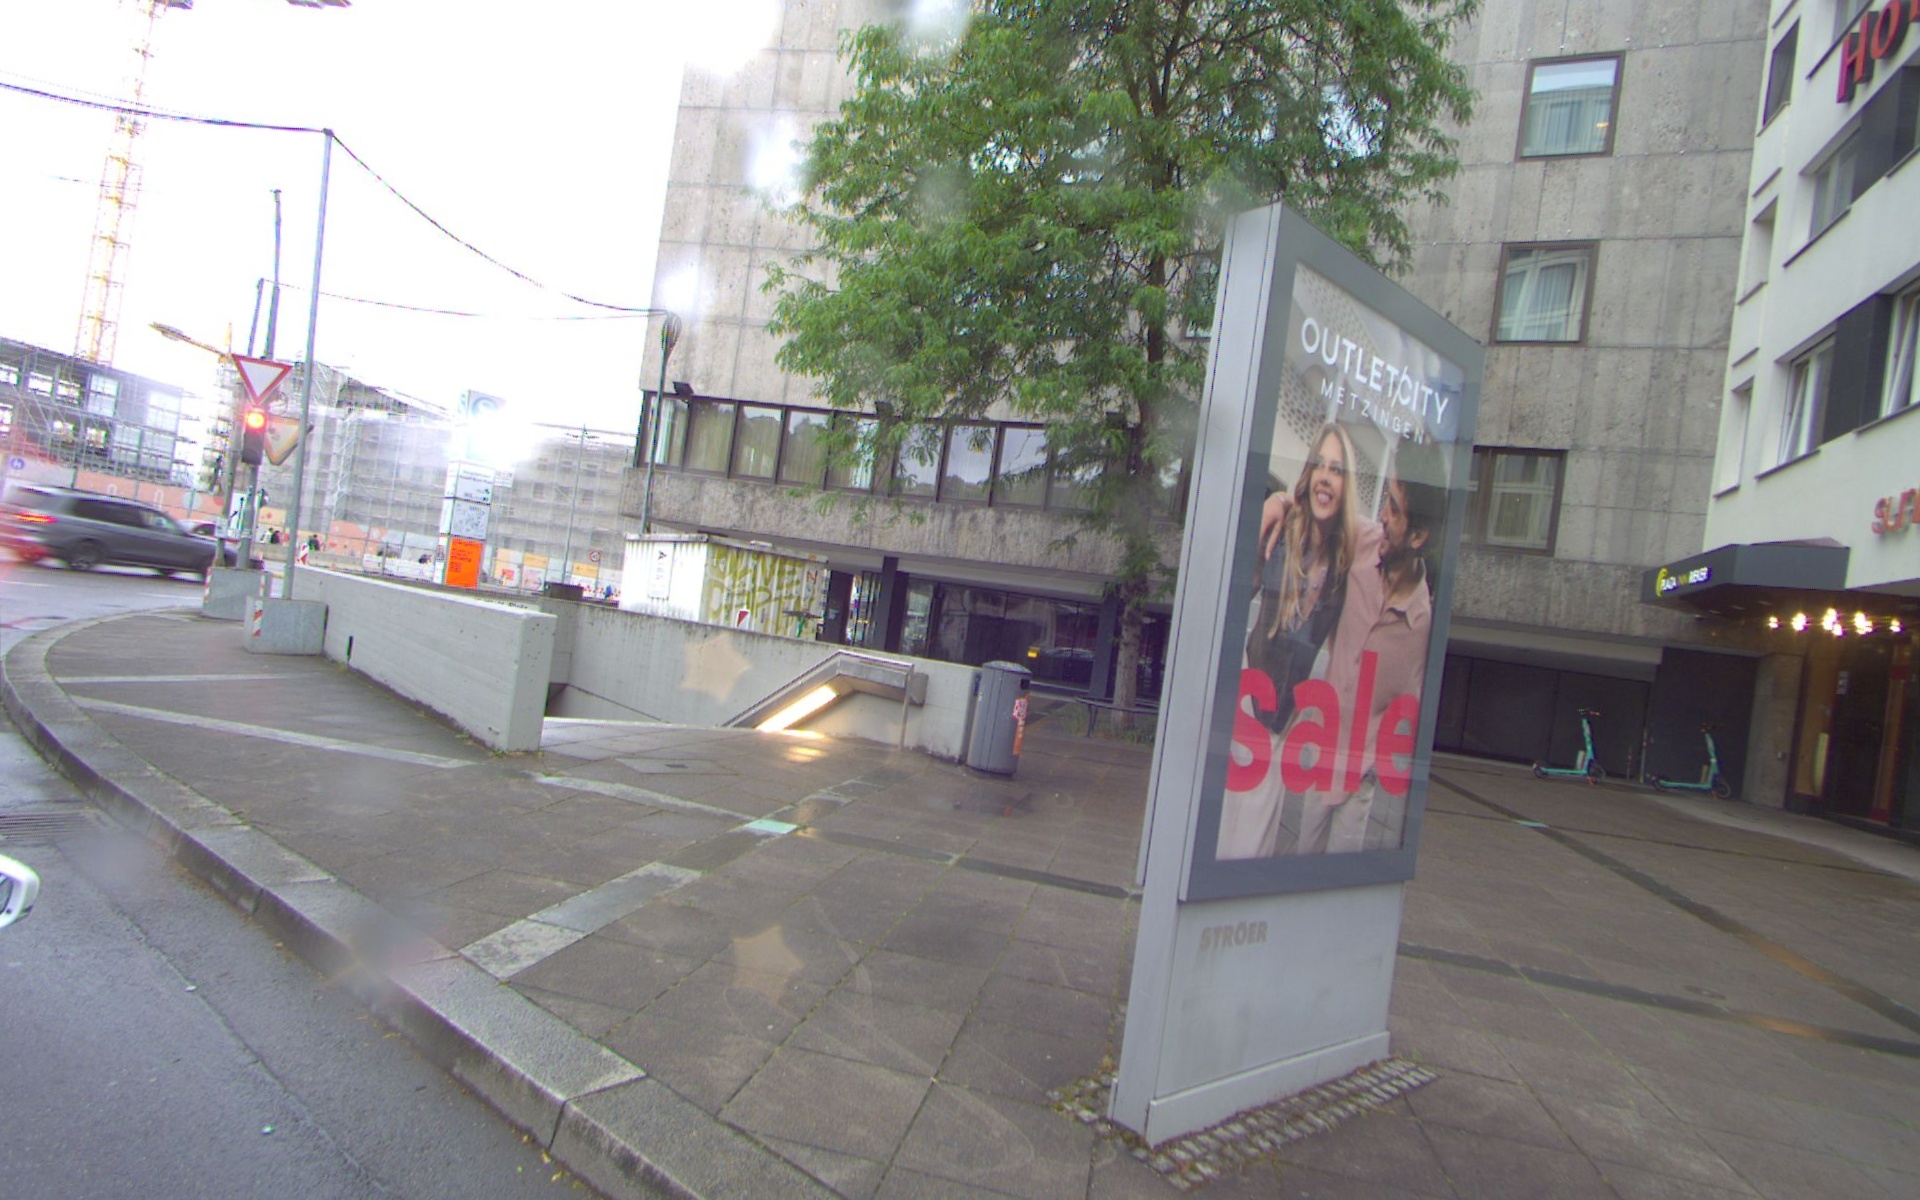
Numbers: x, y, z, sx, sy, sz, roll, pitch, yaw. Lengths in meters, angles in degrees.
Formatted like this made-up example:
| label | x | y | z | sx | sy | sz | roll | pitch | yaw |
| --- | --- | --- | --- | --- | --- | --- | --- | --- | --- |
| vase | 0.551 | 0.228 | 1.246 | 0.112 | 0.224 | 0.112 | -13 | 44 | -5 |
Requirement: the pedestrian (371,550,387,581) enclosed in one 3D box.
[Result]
| label | x | y | z | sx | sy | sz | roll | pitch | yaw |
| --- | --- | --- | --- | --- | --- | --- | --- | --- | --- |
| pedestrian | -38.073 | -2.238 | 65.965 | 0.355 | 1.919 | 0.577 | 7 | -2 | 16 |

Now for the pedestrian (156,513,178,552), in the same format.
| label | x | y | z | sx | sy | sz | roll | pitch | yaw |
| --- | --- | --- | --- | --- | --- | --- | --- | --- | --- |
| pedestrian | -41.006 | -3.499 | 52.031 | 0.355 | 1.919 | 0.577 | 7 | -2 | 21 |

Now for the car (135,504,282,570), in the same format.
| label | x | y | z | sx | sy | sz | roll | pitch | yaw |
| --- | --- | --- | --- | --- | --- | --- | --- | --- | --- |
| car | -28.812 | -2.370 | 38.738 | 1.962 | 1.727 | 4.008 | 7 | -3 | 14 |

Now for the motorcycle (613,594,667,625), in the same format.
| label | x | y | z | sx | sy | sz | roll | pitch | yaw |
| --- | --- | --- | --- | --- | --- | --- | --- | --- | --- |
| motorcycle | -14.879 | 0.471 | 46.801 | 2.132 | 1.120 | 0.841 | 11 | -4 | -44 |

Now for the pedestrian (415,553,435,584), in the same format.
| label | x | y | z | sx | sy | sz | roll | pitch | yaw |
| --- | --- | --- | --- | --- | --- | --- | --- | --- | --- |
| pedestrian | -35.845 | -2.126 | 67.401 | 0.555 | 1.919 | 0.801 | 7 | -2 | 17 |

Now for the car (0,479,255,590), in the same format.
| label | x | y | z | sx | sy | sz | roll | pitch | yaw |
| --- | --- | --- | --- | --- | --- | --- | --- | --- | --- |
| car | -20.540 | -1.520 | 24.599 | 1.962 | 1.817 | 5.111 | 7 | -3 | 17 |

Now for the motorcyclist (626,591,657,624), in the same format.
| label | x | y | z | sx | sy | sz | roll | pitch | yaw |
| --- | --- | --- | --- | --- | --- | --- | --- | --- | --- |
| motorcyclist | -14.842 | 0.338 | 46.823 | 0.943 | 1.373 | 0.839 | 10 | -3 | -43 |

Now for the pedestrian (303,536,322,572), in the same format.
| label | x | y | z | sx | sy | sz | roll | pitch | yaw |
| --- | --- | --- | --- | --- | --- | --- | --- | --- | --- |
| pedestrian | -36.936 | -2.617 | 57.418 | 0.355 | 1.919 | 0.577 | 7 | -2 | 21 |

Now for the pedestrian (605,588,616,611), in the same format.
| label | x | y | z | sx | sy | sz | roll | pitch | yaw |
| --- | --- | --- | --- | --- | --- | --- | --- | --- | --- |
| pedestrian | -29.964 | -0.067 | 86.333 | 0.355 | 1.919 | 0.577 | 7 | -2 | 21 |

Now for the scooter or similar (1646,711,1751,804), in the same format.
| label | x | y | z | sx | sy | sz | roll | pitch | yaw |
| --- | --- | --- | --- | --- | --- | --- | --- | --- | --- |
| scooter or similar | 12.359 | 2.617 | 16.867 | 1.208 | 1.352 | 0.520 | 7 | -2 | 19 |

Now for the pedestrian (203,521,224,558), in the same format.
| label | x | y | z | sx | sy | sz | roll | pitch | yaw |
| --- | --- | --- | --- | --- | --- | --- | --- | --- | --- |
| pedestrian | -40.448 | -3.271 | 54.490 | 0.355 | 1.919 | 0.577 | 7 | -2 | 21 |

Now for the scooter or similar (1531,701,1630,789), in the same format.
| label | x | y | z | sx | sy | sz | roll | pitch | yaw |
| --- | --- | --- | --- | --- | --- | --- | --- | --- | --- |
| scooter or similar | 10.397 | 2.414 | 16.892 | 1.208 | 1.269 | 0.565 | 7 | 0 | 19 |

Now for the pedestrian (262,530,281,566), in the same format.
| label | x | y | z | sx | sy | sz | roll | pitch | yaw |
| --- | --- | --- | --- | --- | --- | --- | --- | --- | --- |
| pedestrian | -38.931 | -2.923 | 56.887 | 0.355 | 1.919 | 0.577 | 7 | -2 | 21 |

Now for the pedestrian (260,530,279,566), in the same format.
| label | x | y | z | sx | sy | sz | roll | pitch | yaw |
| --- | --- | --- | --- | --- | --- | --- | --- | --- | --- |
| pedestrian | -39.331 | -2.952 | 57.302 | 0.355 | 1.919 | 0.577 | 7 | -2 | 21 |

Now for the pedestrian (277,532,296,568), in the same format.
| label | x | y | z | sx | sy | sz | roll | pitch | yaw |
| --- | --- | --- | --- | --- | --- | --- | --- | --- | --- |
| pedestrian | -37.975 | -2.803 | 56.698 | 0.355 | 1.919 | 0.577 | 7 | -2 | 21 |

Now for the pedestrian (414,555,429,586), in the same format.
| label | x | y | z | sx | sy | sz | roll | pitch | yaw |
| --- | --- | --- | --- | --- | --- | --- | --- | --- | --- |
| pedestrian | -34.927 | -1.899 | 65.247 | 0.355 | 1.919 | 0.577 | 7 | -2 | 21 |
